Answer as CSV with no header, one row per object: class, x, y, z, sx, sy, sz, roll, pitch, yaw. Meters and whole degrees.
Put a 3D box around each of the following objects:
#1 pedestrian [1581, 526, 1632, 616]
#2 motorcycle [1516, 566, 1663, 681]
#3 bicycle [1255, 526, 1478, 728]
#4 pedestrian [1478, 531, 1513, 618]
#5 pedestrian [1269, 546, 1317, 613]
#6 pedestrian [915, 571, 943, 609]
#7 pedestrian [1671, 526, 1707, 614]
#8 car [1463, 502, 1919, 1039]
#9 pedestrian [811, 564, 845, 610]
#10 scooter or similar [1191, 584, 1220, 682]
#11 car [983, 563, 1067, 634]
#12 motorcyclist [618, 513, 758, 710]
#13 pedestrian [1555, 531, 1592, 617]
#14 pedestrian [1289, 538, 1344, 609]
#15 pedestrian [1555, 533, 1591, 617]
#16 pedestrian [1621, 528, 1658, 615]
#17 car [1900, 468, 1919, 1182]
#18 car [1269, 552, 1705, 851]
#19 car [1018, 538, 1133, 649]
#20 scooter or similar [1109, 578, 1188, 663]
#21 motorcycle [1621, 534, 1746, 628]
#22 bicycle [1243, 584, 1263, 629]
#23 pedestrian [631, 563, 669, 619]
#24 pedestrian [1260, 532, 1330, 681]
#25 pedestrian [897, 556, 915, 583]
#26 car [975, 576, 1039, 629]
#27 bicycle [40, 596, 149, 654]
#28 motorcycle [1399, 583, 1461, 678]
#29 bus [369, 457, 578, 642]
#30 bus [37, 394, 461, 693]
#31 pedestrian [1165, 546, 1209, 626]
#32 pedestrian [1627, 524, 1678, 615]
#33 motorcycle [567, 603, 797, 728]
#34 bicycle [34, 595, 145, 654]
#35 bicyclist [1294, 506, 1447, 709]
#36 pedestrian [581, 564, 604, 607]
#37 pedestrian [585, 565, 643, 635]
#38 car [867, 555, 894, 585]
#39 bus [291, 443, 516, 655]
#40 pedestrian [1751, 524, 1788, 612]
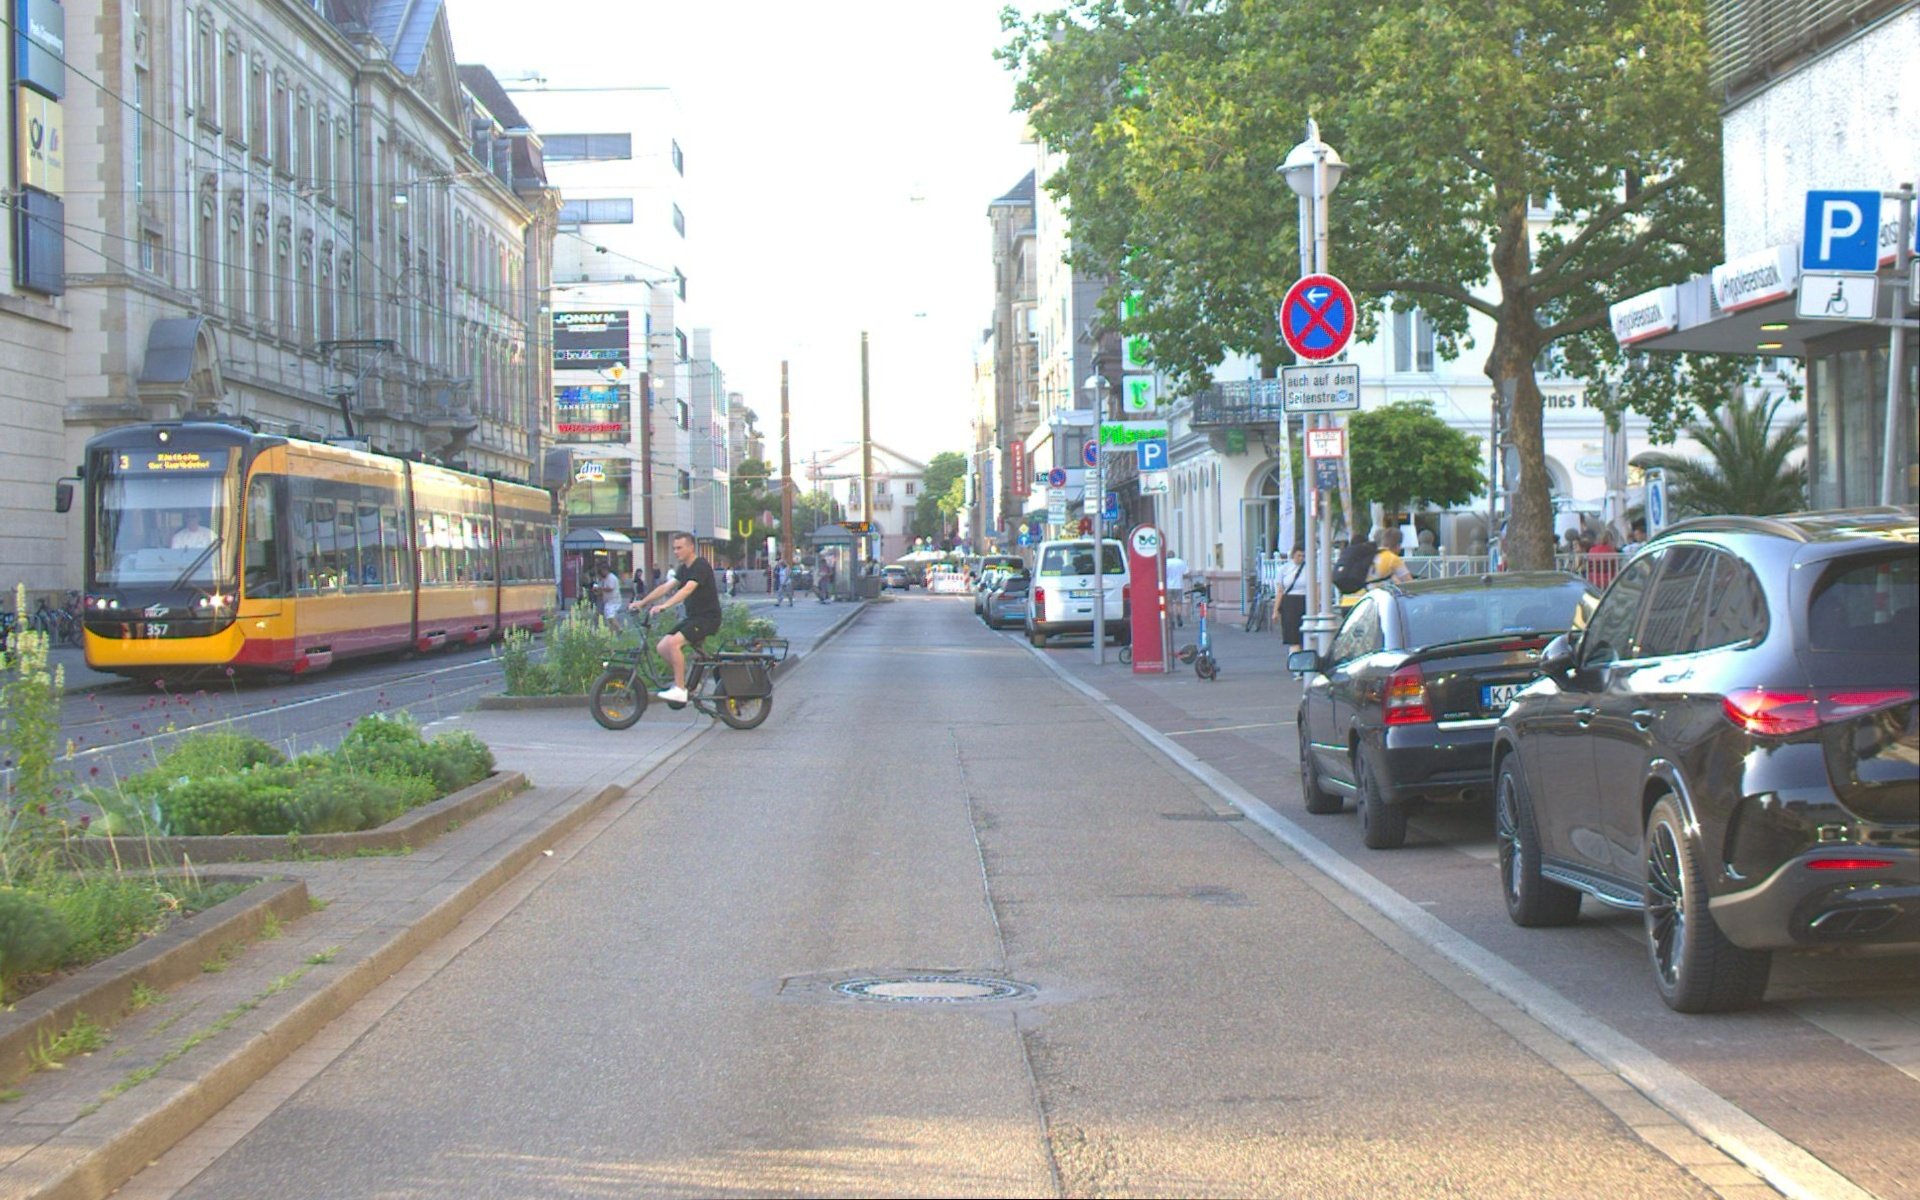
pedestrian,9.425,-0.416,50.129,0.645,1.281,0.740,-1,-1,16
motorcycle,7.972,0.282,43.665,0.564,1.418,2.297,0,0,-27
bicycle,3.630,0.214,30.541,2.362,1.734,0.602,-1,1,-44
pedestrian,8.318,-0.393,53.385,0.474,1.325,0.539,-1,-1,14
pedestrian,6.646,-0.410,68.585,0.822,1.301,0.870,-1,-1,-1
pedestrian,-1.633,-0.524,179.330,1.229,1.922,1.022,-1,0,-16
pedestrian,10.804,-0.448,50.946,0.474,1.281,0.539,-1,-1,16
car,3.101,0.442,12.470,1.775,1.533,4.579,-1,2,-1
pedestrian,-4.918,-0.479,127.967,1.049,1.680,0.908,-1,-1,11
scooter or similar,3.123,0.415,43.738,0.315,1.217,1.272,0,0,6
car,1.664,-0.032,89.086,1.993,1.755,4.421,-1,0,-1
motorcyclist,-2.549,0.114,32.145,1.001,1.807,0.960,-1,-1,-24
pedestrian,9.310,-0.391,52.160,0.474,1.281,0.539,-1,-1,16
pedestrian,6.751,-0.499,65.158,0.902,1.309,0.967,-1,-1,-1
pedestrian,9.415,-0.381,52.795,0.474,1.281,0.539,-1,-1,14
pedestrian,10.164,-0.422,51.383,0.474,1.281,0.539,-1,-1,16
car,3.015,0.514,5.362,1.816,1.580,4.723,-1,1,0
car,2.843,0.490,19.444,1.655,1.375,4.341,-4,1,-1
car,2.123,-0.121,64.328,1.915,1.975,4.421,-1,0,-1
scooter or similar,2.802,0.302,51.154,1.125,1.212,0.300,-2,0,1
motorcycle,9.244,-0.254,43.963,0.550,1.147,1.798,0,2,-27
bicycle,5.999,0.137,70.355,0.250,0.899,1.374,-1,-1,-1
pedestrian,-9.358,-0.281,103.669,1.048,1.680,0.908,-1,1,-10
pedestrian,4.170,0.082,42.822,0.714,1.797,0.824,-3,0,2
pedestrian,-3.538,-1.990,225.407,0.782,1.728,0.811,-2,-2,40
car,1.556,0.089,115.245,1.993,1.661,4.421,-1,-1,-1
bicycle,-17.594,0.508,69.898,2.077,1.144,0.575,-1,-1,-5
motorcycle,5.873,0.367,43.033,0.455,1.154,2.031,-1,1,-1
bus,-10.246,-0.962,73.707,2.822,3.600,11.822,-1,0,0
bus,-10.017,-0.787,50.990,2.822,3.639,17.073,-1,1,0
pedestrian,5.099,-0.307,77.153,0.786,1.745,0.895,-1,-1,-7
pedestrian,10.052,-0.437,49.887,0.645,1.281,0.740,-1,-1,16
motorcycle,-2.593,0.604,32.108,2.043,1.120,0.568,-1,-1,-24
bicycle,-17.521,0.496,69.232,2.096,1.144,0.575,-1,-1,-5
bicyclist,3.653,0.054,30.607,0.929,1.770,0.970,-1,1,-43
pedestrian,-13.791,-0.550,129.020,0.777,1.575,0.679,-1,0,-12
pedestrian,-7.613,0.009,75.702,0.718,1.509,1.035,-2,-2,43
car,-5.233,-1.977,226.984,1.760,1.821,3.570,-1,-1,-1
bus,-10.169,-0.922,63.657,2.822,3.612,8.289,-1,1,0
pedestrian,11.904,-0.465,50.563,0.474,1.281,0.539,-1,-1,16
